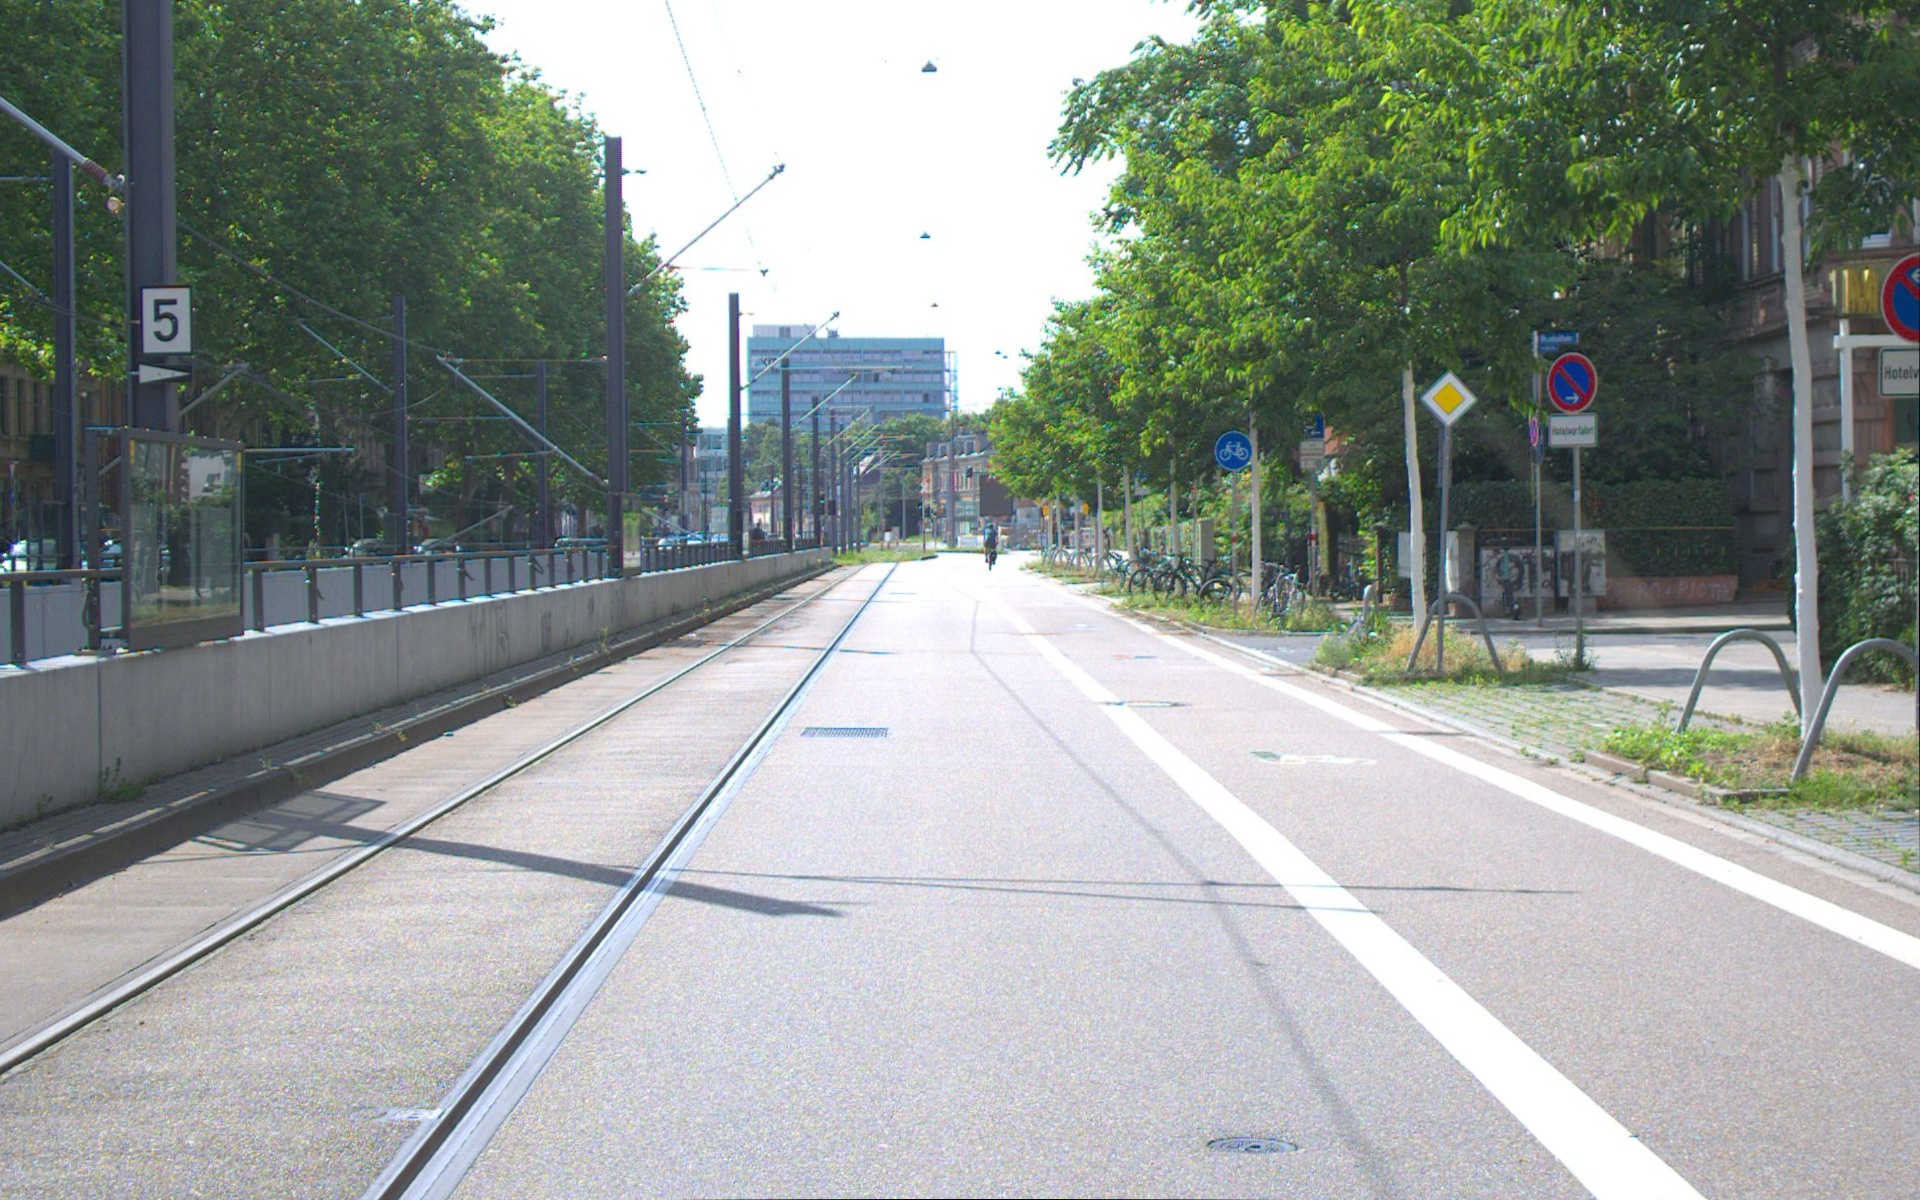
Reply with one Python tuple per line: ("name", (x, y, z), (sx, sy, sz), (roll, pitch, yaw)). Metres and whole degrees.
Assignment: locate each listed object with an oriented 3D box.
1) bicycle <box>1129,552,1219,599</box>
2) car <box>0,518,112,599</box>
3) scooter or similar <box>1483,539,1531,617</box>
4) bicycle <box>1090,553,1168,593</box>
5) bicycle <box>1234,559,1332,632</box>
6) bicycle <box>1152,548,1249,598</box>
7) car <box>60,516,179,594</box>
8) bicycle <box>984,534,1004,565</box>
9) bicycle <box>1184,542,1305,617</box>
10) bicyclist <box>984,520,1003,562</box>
("bicycle", (4.597, -0.525, 73.834), (1.816, 0.899, 0.604), (-3, 1, -3))
("car", (-20.831, -0.964, 78.628), (1.839, 1.722, 4.000), (-3, 1, 0))
("scooter or similar", (8.330, -0.340, 52.392), (0.461, 1.154, 1.573), (-2, 1, 0))
("bicycle", (4.179, -0.666, 85.099), (1.816, 0.899, 0.604), (-3, 1, -3))
("bicycle", (4.795, -0.074, 51.085), (0.649, 1.035, 1.822), (-3, 2, -22))
("bicycle", (4.819, -0.543, 68.897), (1.816, 0.899, 0.652), (-3, 1, -3))
("car", (-20.242, -1.106, 82.910), (1.839, 1.722, 4.000), (-3, 1, 0))
("bicycle", (1.395, -2.076, 141.455), (0.799, 1.232, 2.778), (0, 1, 0))
("bicycle", (4.646, -0.340, 56.256), (1.815, 1.141, 0.652), (-3, 1, -11))
("bicyclist", (1.389, -2.432, 141.399), (0.770, 1.724, 1.026), (0, 1, 0))
